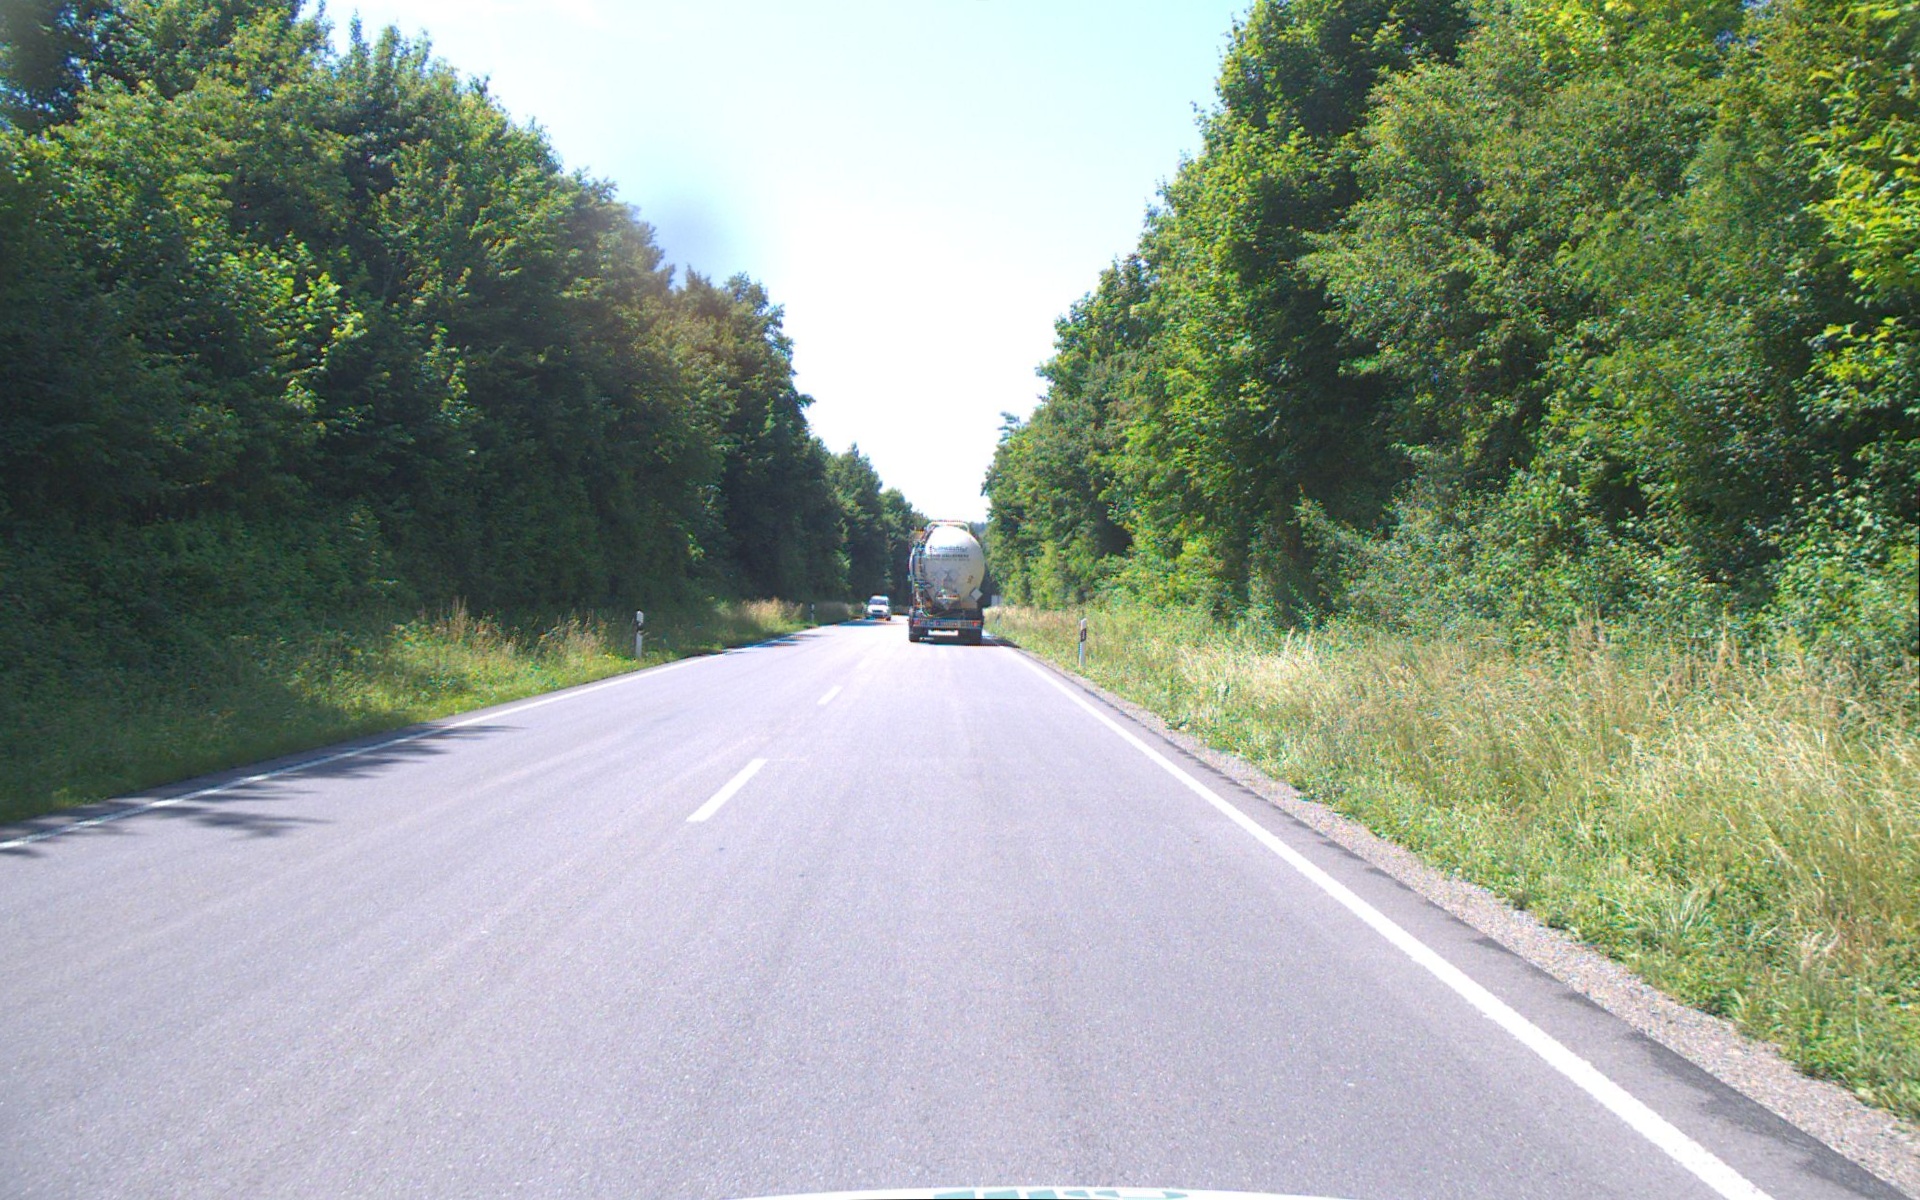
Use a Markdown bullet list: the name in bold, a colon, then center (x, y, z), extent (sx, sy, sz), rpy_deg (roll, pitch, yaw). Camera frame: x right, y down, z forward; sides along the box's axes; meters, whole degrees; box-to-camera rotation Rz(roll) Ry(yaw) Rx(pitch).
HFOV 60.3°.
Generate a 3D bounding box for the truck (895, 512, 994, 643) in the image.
- **truck**: center (-0.759, -0.685, 60.990), extent (2.988, 4.068, 15.629), rpy_deg (3, 0, -2)

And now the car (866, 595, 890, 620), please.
- **car**: center (-5.615, 0.492, 113.440), extent (1.481, 1.620, 3.793), rpy_deg (1, 0, 0)
